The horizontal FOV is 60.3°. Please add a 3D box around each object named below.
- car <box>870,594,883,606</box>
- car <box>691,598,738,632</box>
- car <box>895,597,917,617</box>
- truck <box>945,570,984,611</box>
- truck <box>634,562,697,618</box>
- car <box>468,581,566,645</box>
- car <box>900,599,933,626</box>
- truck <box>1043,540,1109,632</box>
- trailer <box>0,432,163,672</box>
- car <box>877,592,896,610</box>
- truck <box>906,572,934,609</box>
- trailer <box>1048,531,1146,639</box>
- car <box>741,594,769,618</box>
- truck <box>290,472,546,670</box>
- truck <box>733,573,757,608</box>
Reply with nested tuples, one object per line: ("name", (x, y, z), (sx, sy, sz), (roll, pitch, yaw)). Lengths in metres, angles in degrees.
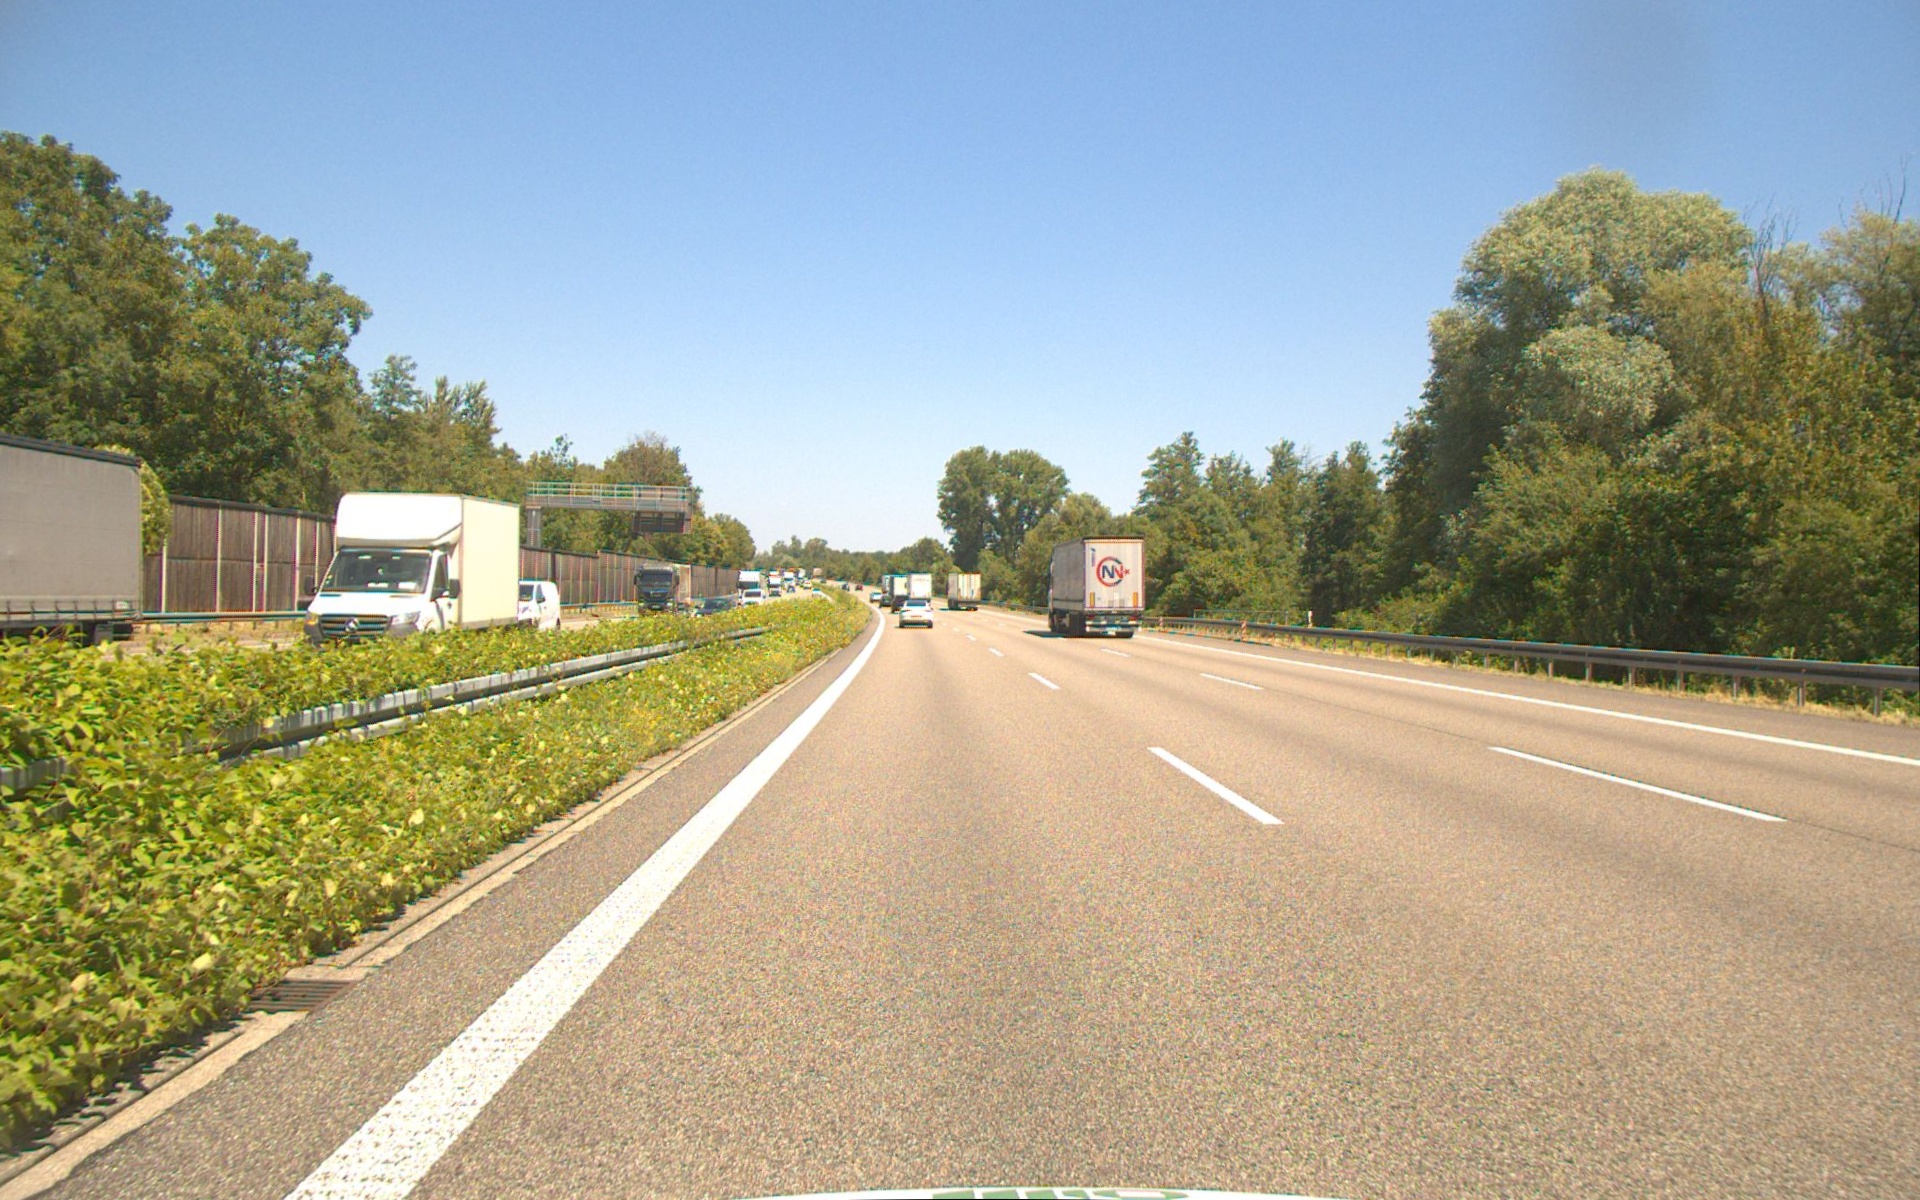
("car", (-12.397, 0.001, 245.754), (1.690, 1.814, 3.996), (0, 0, -5))
("car", (-10.387, 0.621, 70.241), (1.593, 1.414, 3.911), (0, 0, -3))
("car", (-5.034, 0.636, 153.810), (1.954, 1.803, 3.997), (0, 0, -3))
("truck", (0.459, -1.021, 182.197), (3.424, 4.386, 10.978), (1, 0, -4))
("truck", (-20.120, -0.678, 113.598), (2.812, 3.668, 9.947), (1, 0, -2))
("car", (-13.483, 0.376, 50.577), (1.830, 1.852, 4.815), (1, 0, -2))
("car", (-2.317, 0.677, 89.211), (1.680, 1.393, 3.375), (1, 0, 0))
("truck", (5.636, -0.672, 81.105), (2.554, 4.362, 5.432), (1, 0, -3))
("trailer", (-17.215, -0.802, 26.352), (2.674, 3.978, 13.757), (1, 0, -2))
("car", (-8.628, 0.154, 193.710), (1.955, 2.049, 3.996), (0, 0, -5))
("truck", (-4.984, -1.141, 204.438), (3.292, 4.386, 10.823), (1, 0, -3))
("trailer", (5.939, -0.620, 74.242), (2.571, 4.335, 14.053), (1, 0, -3))
("car", (-18.010, 0.548, 145.351), (1.953, 2.049, 5.100), (1, 0, -2))
("truck", (-9.803, -0.472, 30.924), (2.149, 3.169, 8.531), (1, 0, -2))
("truck", (-26.196, -1.124, 202.021), (2.470, 4.137, 6.366), (1, 0, -4))
